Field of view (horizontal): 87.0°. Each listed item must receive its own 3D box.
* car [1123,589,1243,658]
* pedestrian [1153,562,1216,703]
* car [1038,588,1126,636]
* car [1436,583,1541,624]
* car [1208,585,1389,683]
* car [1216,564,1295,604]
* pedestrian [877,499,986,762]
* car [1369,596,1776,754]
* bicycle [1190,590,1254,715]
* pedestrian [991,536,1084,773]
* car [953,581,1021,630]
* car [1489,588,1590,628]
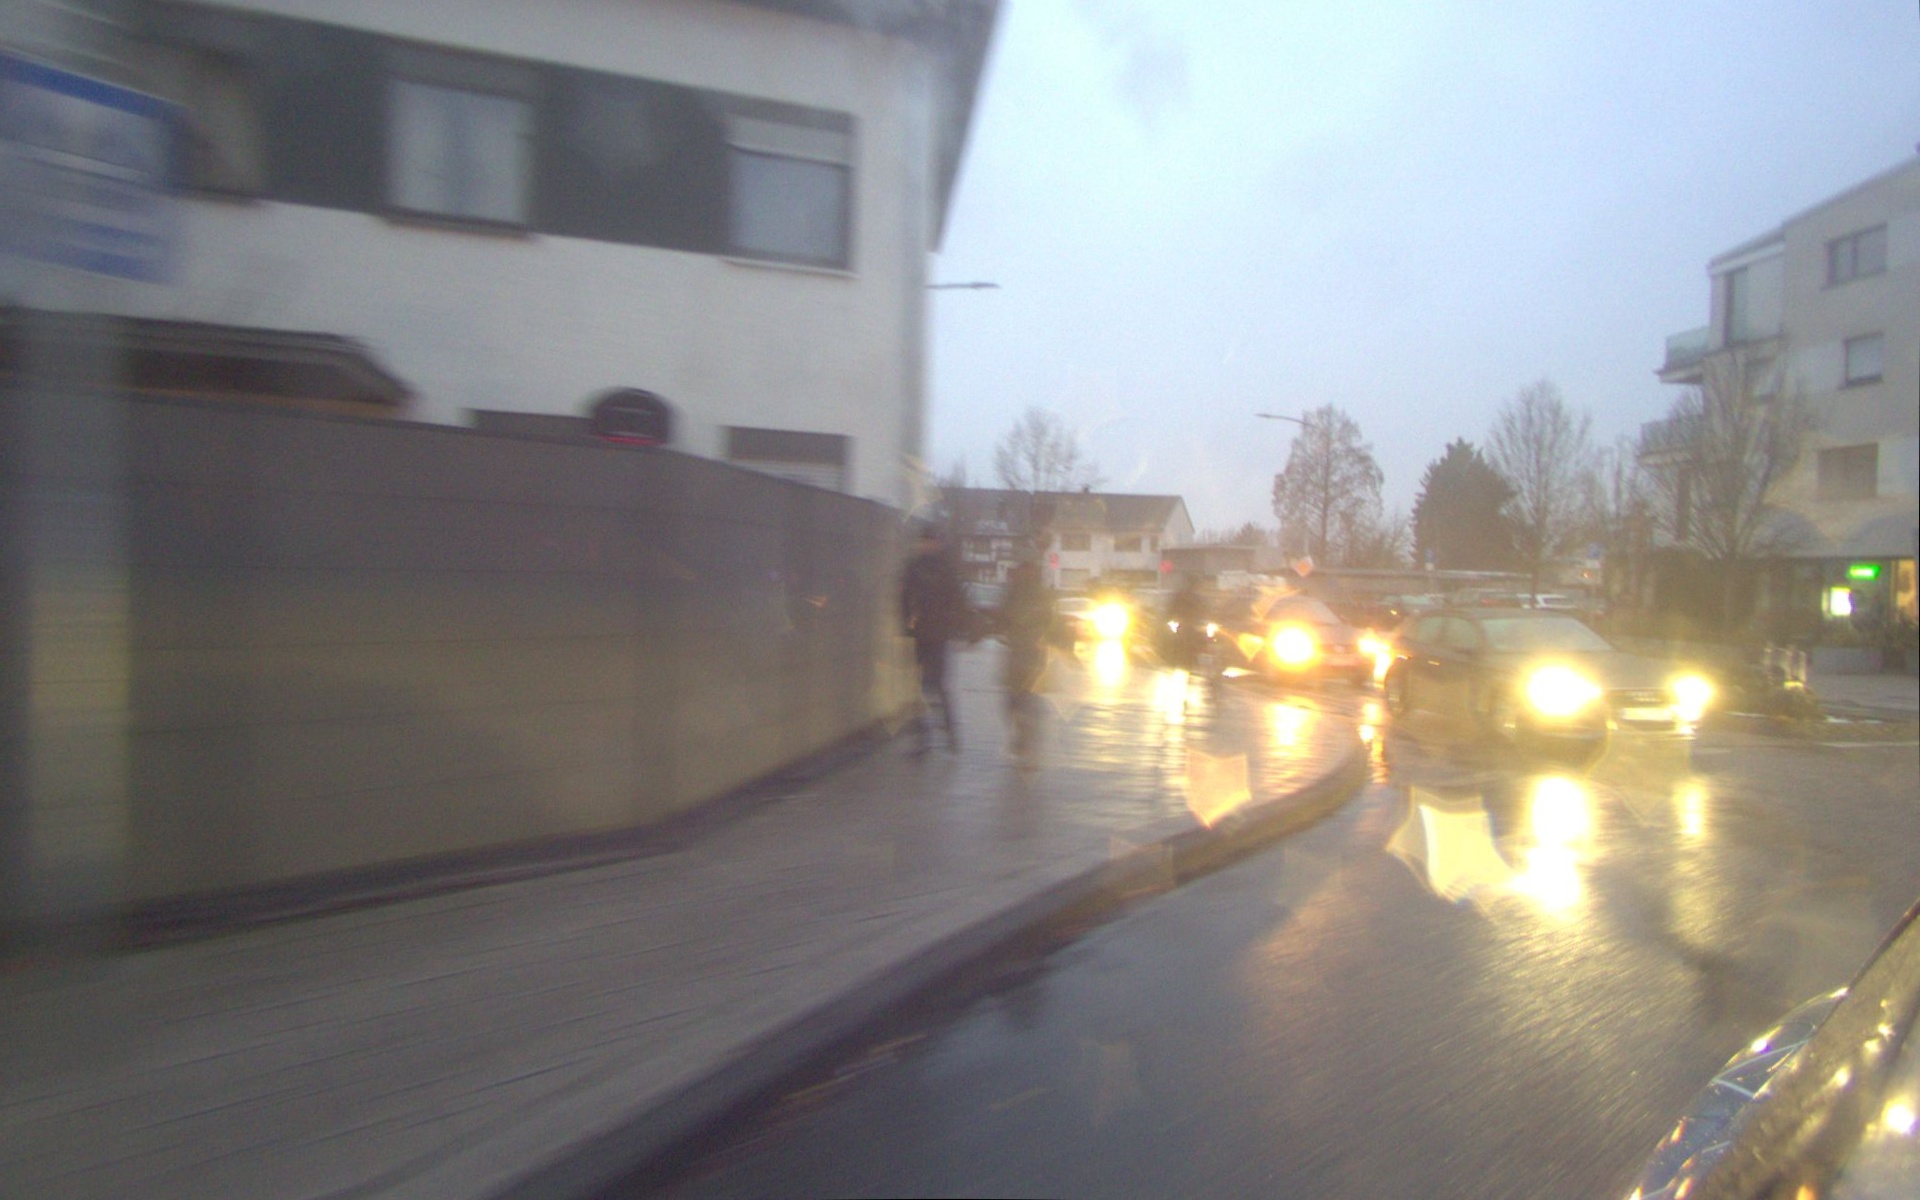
[{"bbox_3d":[5.376,0.513,24.963,1.663,1.527,4.263,0,1,-5],"label":"car"},{"bbox_3d":[2.674,0.366,12.002,0.602,1.584,0.687,3,1,19],"label":"pedestrian"},{"bbox_3d":[4.104,0.381,34.685,1.843,1.471,4.007,2,1,-10],"label":"car"},{"bbox_3d":[20.583,0.111,39.601,1.680,1.535,3.773,1,1,-9],"label":"car"},{"bbox_3d":[5.997,0.532,18.467,1.663,1.571,4.004,0,1,-5],"label":"car"},{"bbox_3d":[15.864,-0.838,54.569,2.169,2.039,4.867,1,1,-9],"label":"car"},{"bbox_3d":[-0.198,0.212,7.626,0.626,1.854,0.716,3,1,7],"label":"pedestrian"},{"bbox_3d":[6.452,0.690,11.356,1.814,1.401,4.236,-1,0,-3],"label":"car"},{"bbox_3d":[3.087,0.550,11.829,0.544,1.311,1.931,3,1,18],"label":"bicycle"},{"bbox_3d":[0.586,0.379,7.526,0.572,1.641,0.716,3,1,7],"label":"pedestrian"},{"bbox_3d":[0.905,0.155,35.941,1.630,1.548,4.007,2,1,-10],"label":"car"},{"bbox_3d":[23.036,0.289,40.378,1.488,1.492,3.452,1,1,-14],"label":"car"}]
